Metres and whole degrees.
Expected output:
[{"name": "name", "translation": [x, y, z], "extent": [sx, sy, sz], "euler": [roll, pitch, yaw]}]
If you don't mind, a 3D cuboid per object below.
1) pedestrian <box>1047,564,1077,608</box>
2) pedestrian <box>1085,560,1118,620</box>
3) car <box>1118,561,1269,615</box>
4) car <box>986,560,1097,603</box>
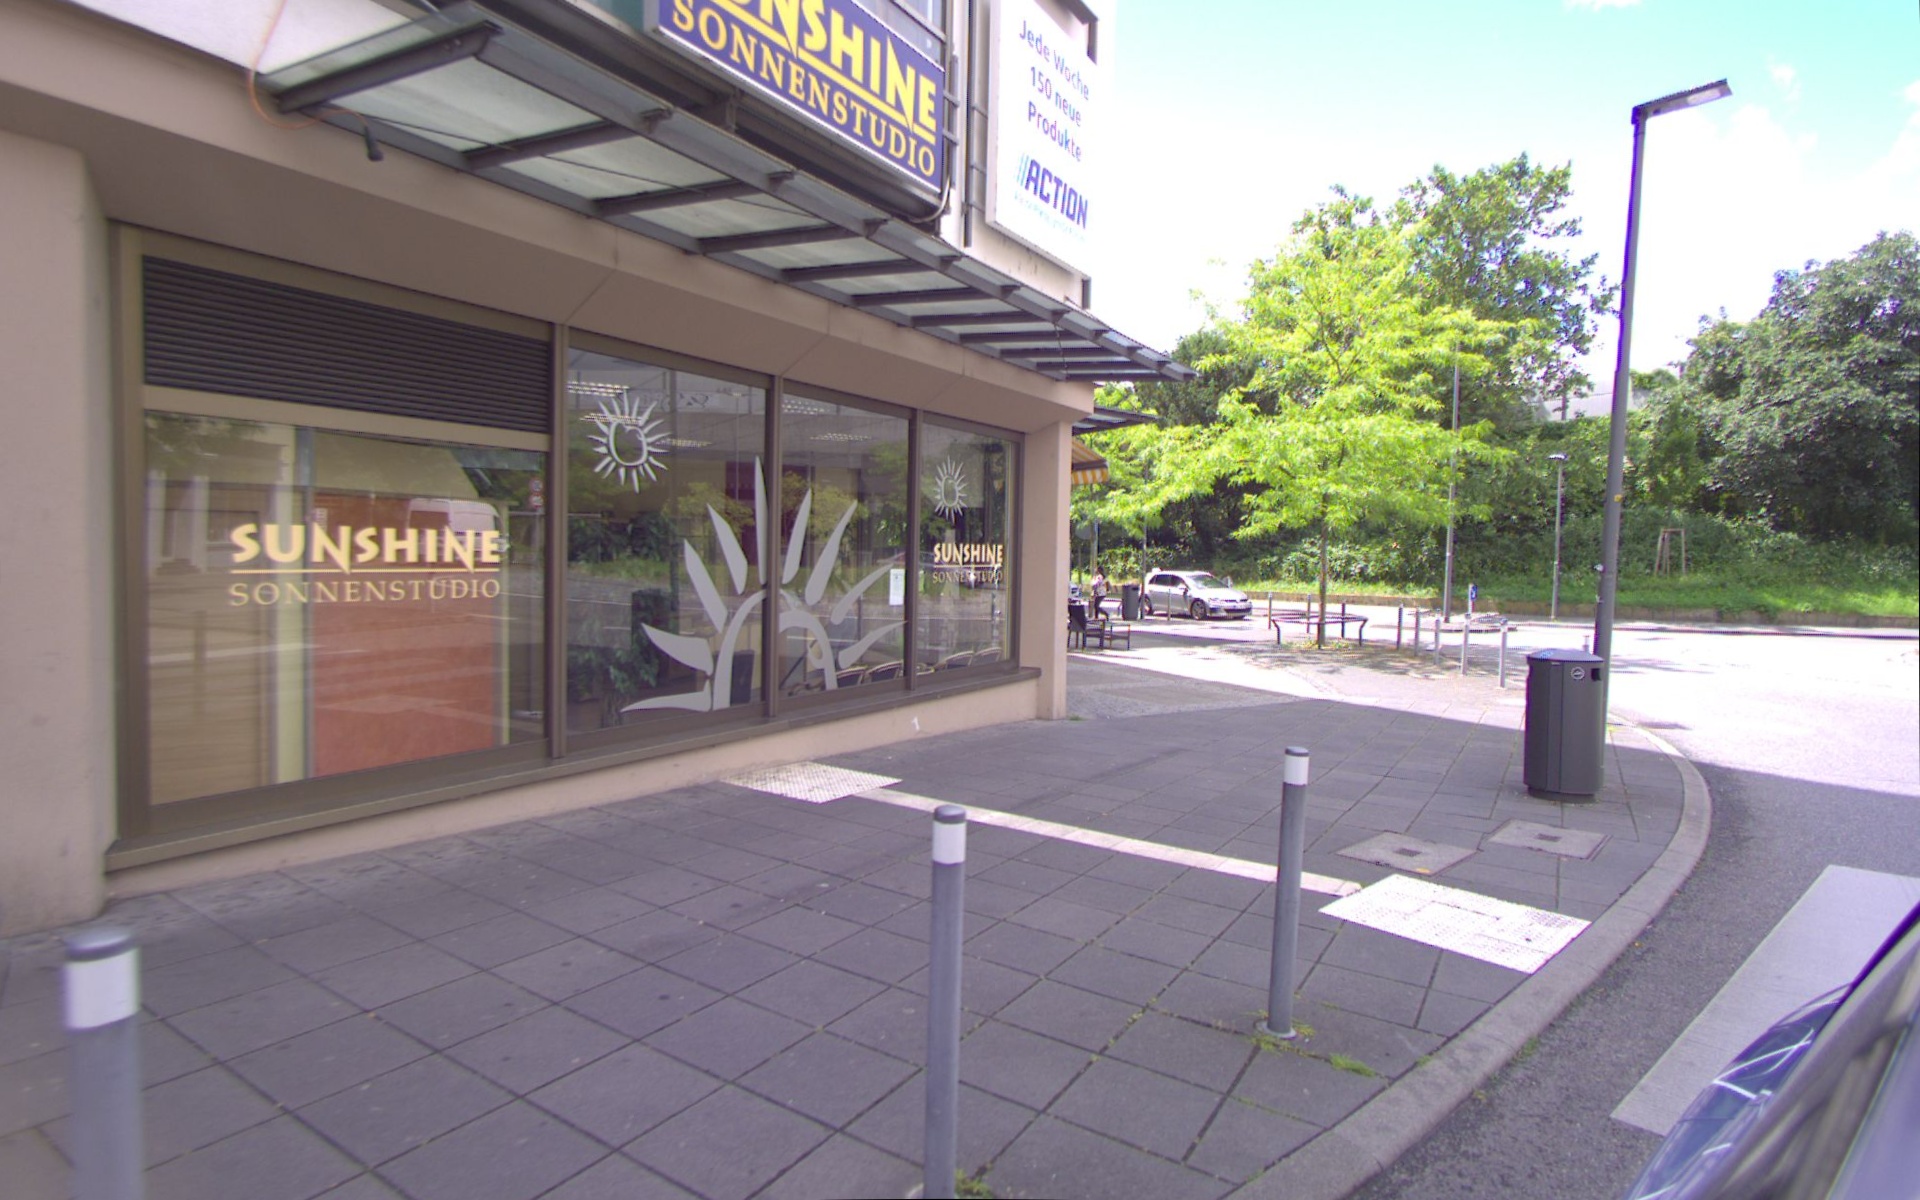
[{"name": "pedestrian", "translation": [3.089, -0.424, 30.731], "extent": [0.683, 1.301, 0.619], "euler": [1, 1, -21]}, {"name": "pedestrian", "translation": [3.832, -0.278, 27.324], "extent": [0.768, 1.573, 0.762], "euler": [1, 1, 14]}, {"name": "car", "translation": [7.240, -0.441, 31.858], "extent": [1.961, 1.526, 4.589], "euler": [-2, 3, -32]}, {"name": "car", "translation": [3.131, -0.780, 39.781], "extent": [1.961, 1.526, 4.588], "euler": [-2, 3, -33]}]
